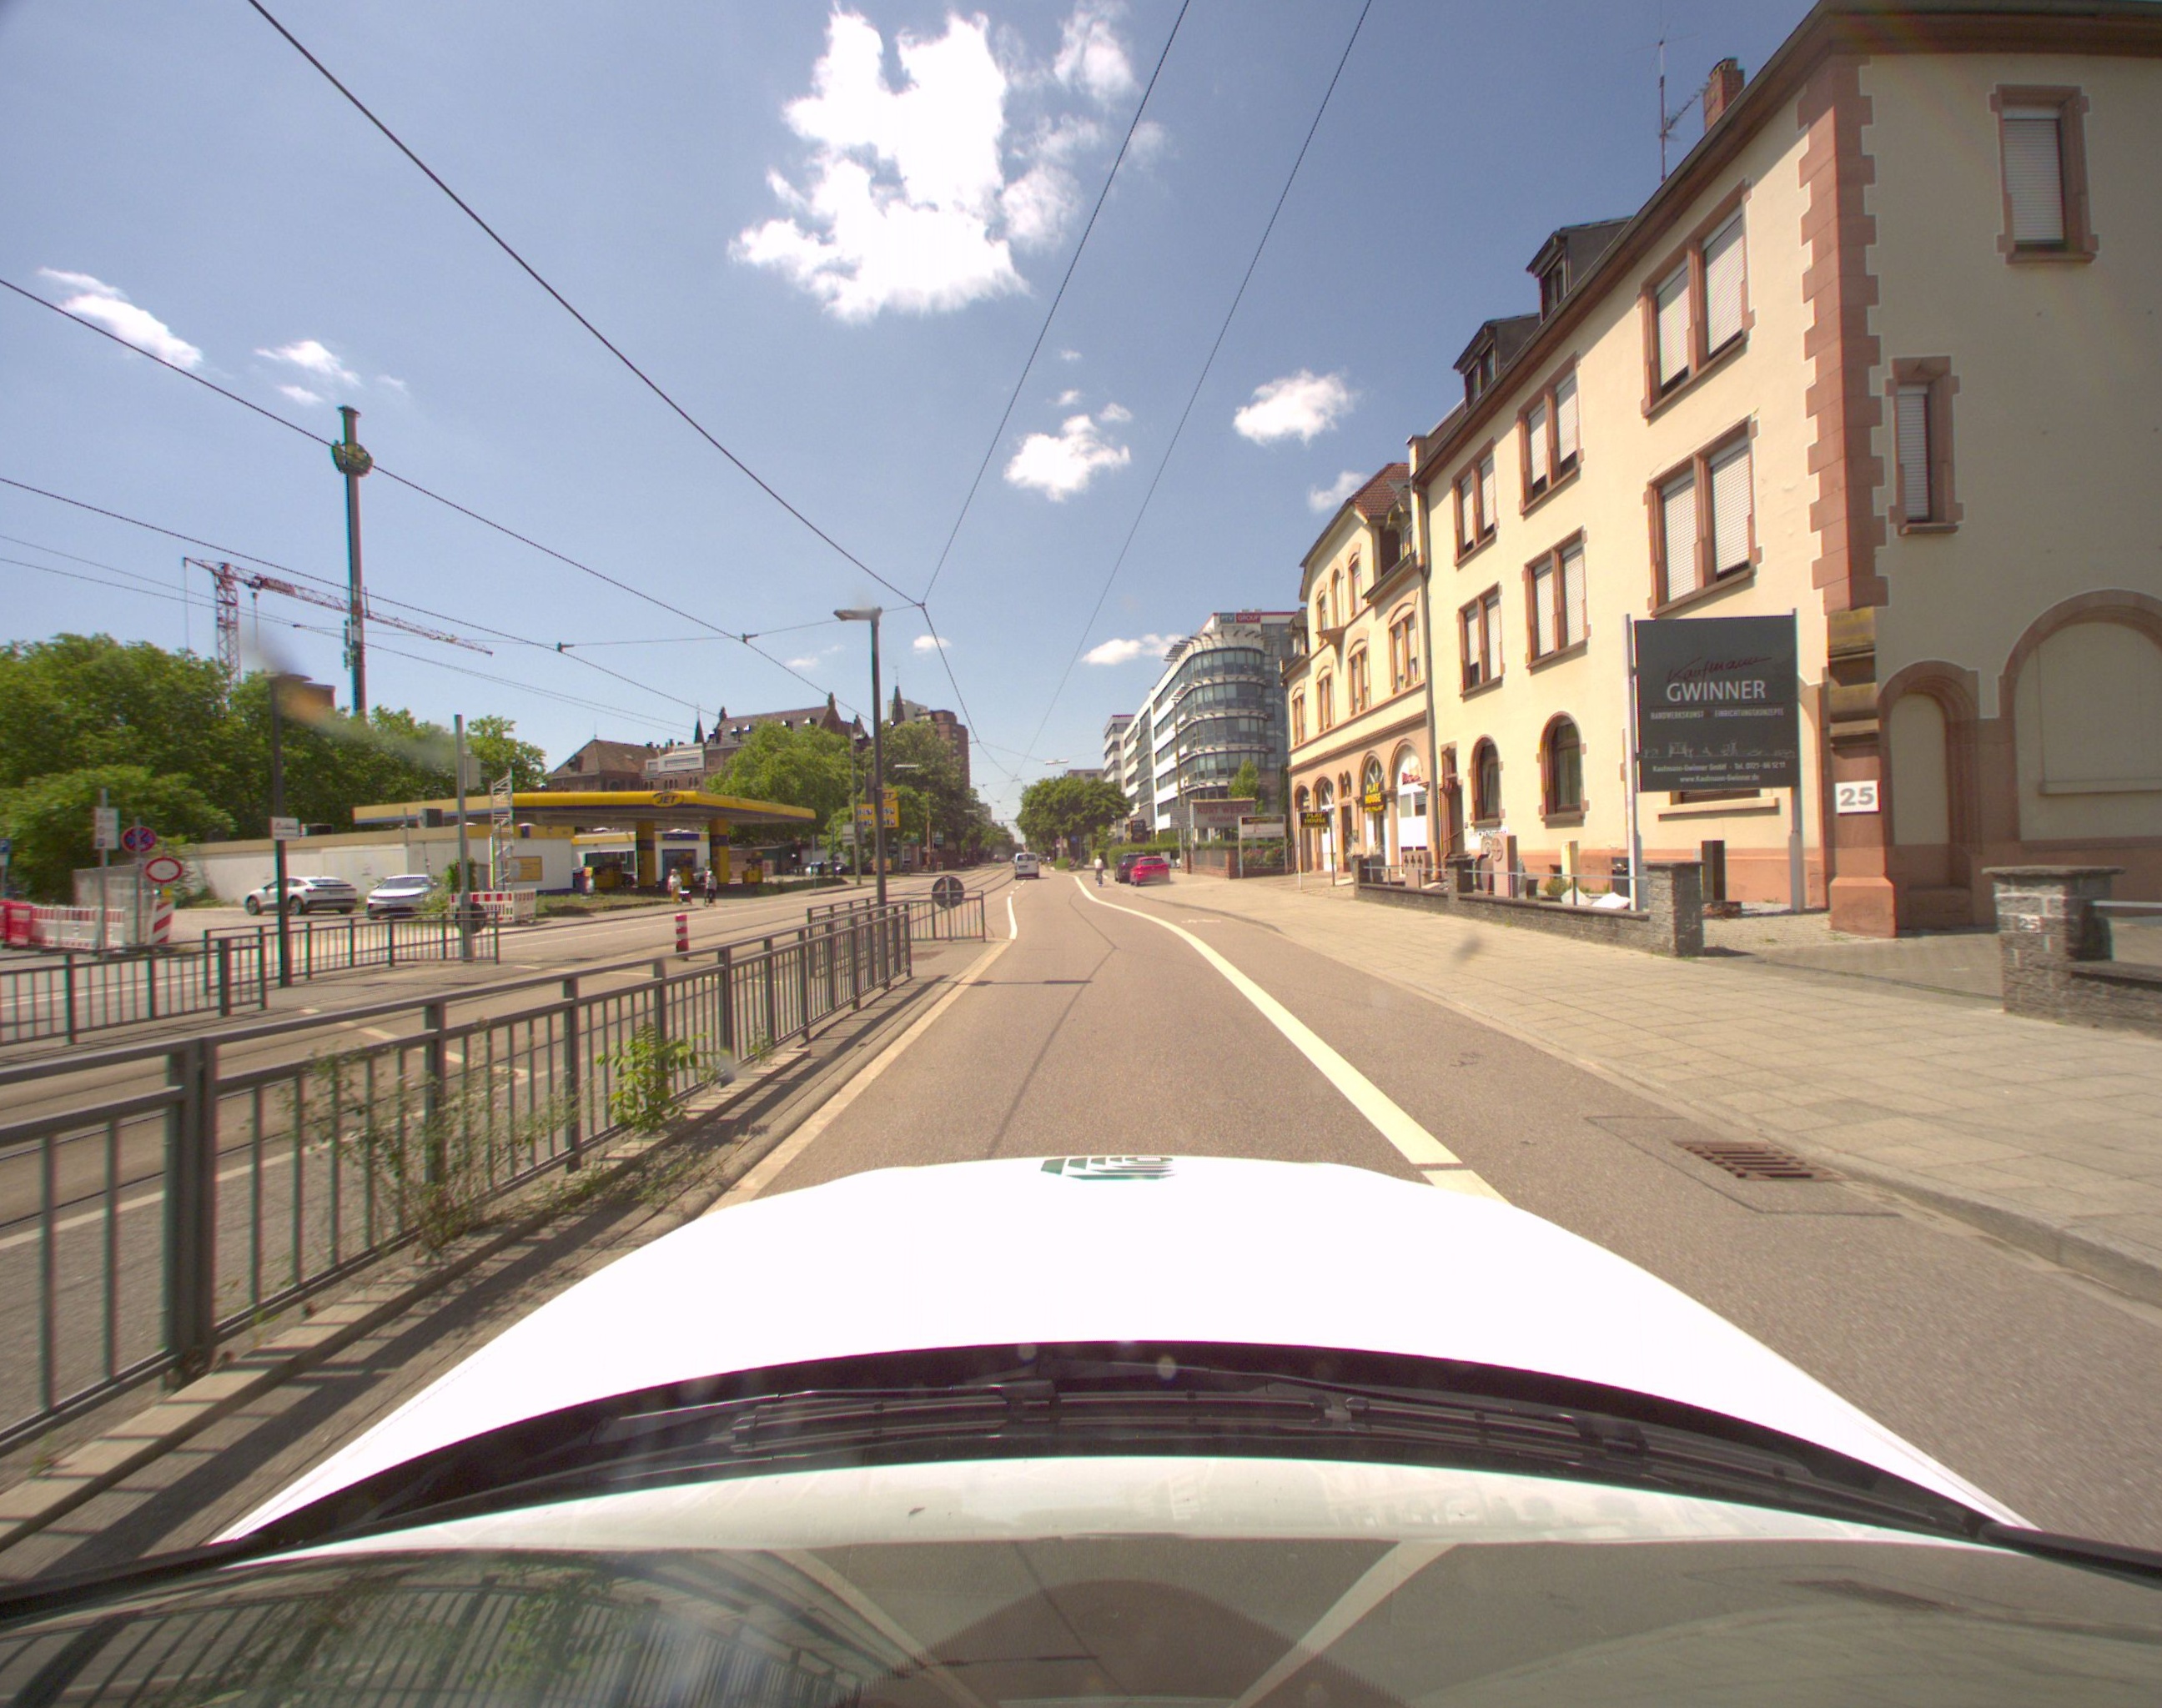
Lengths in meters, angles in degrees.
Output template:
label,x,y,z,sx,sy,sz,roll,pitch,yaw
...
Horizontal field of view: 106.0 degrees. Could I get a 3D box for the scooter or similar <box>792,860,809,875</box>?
label,x,y,z,sx,sy,sz,roll,pitch,yaw
scooter or similar,-28.806,1.416,83.692,1.306,1.466,1.061,-2,0,8

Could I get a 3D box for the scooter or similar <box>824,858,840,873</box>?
label,x,y,z,sx,sy,sz,roll,pitch,yaw
scooter or similar,-25.208,1.205,82.498,1.168,1.466,1.059,-2,-1,2

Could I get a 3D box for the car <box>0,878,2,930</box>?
label,x,y,z,sx,sy,sz,roll,pitch,yaw
car,-42.938,1.977,29.760,1.974,2.013,4.025,-2,0,41

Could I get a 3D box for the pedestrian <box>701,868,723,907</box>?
label,x,y,z,sx,sy,sz,roll,pitch,yaw
pedestrian,-16.429,1.475,36.241,0.577,1.671,0.668,-2,0,5

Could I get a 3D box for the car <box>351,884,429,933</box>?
label,x,y,z,sx,sy,sz,roll,pitch,yaw
car,-25.852,1.991,30.593,2.068,1.567,3.954,-2,0,-38

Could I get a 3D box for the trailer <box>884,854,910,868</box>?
label,x,y,z,sx,sy,sz,roll,pitch,yaw
trailer,-20.966,0.803,92.896,2.721,1.526,1.328,-1,-1,-3

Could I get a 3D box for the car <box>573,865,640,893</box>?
label,x,y,z,sx,sy,sz,roll,pitch,yaw
car,-33.151,1.741,57.036,1.584,1.703,3.790,-4,-1,22

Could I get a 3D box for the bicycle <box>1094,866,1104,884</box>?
label,x,y,z,sx,sy,sz,roll,pitch,yaw
bicycle,0.962,1.099,43.069,0.464,0.887,2.048,-2,0,0

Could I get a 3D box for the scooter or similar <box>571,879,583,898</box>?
label,x,y,z,sx,sy,sz,roll,pitch,yaw
scooter or similar,-25.721,1.745,41.561,0.404,0.930,0.327,-2,0,-1

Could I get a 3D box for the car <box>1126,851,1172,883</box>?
label,x,y,z,sx,sy,sz,roll,pitch,yaw
car,3.428,0.641,41.823,1.708,1.452,4.067,-4,0,-3

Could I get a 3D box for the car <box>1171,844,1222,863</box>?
label,x,y,z,sx,sy,sz,roll,pitch,yaw
car,9.319,-0.065,65.633,3.791,1.275,1.554,-4,0,-3

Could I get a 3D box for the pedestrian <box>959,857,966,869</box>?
label,x,y,z,sx,sy,sz,roll,pitch,yaw
pedestrian,-19.891,1.505,136.605,0.863,2.013,0.645,-4,-1,-6

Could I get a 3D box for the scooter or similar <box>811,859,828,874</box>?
label,x,y,z,sx,sy,sz,roll,pitch,yaw
scooter or similar,-26.665,1.282,83.123,1.306,1.466,1.061,-2,-1,8

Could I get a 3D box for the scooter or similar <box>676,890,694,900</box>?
label,x,y,z,sx,sy,sz,roll,pitch,yaw
scooter or similar,-18.138,1.871,37.329,0.471,0.394,0.673,-2,0,4

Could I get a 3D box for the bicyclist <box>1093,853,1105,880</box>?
label,x,y,z,sx,sy,sz,roll,pitch,yaw
bicyclist,0.956,0.661,43.061,0.589,1.397,0.841,-2,0,-1

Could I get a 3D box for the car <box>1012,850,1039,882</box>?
label,x,y,z,sx,sy,sz,roll,pitch,yaw
car,-3.921,0.825,57.907,1.749,2.013,3.995,-3,1,-4

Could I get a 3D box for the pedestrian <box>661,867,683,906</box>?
label,x,y,z,sx,sy,sz,roll,pitch,yaw
pedestrian,-18.281,1.446,36.412,0.550,1.658,0.673,-2,0,4

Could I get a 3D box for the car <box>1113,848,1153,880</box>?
label,x,y,z,sx,sy,sz,roll,pitch,yaw
car,3.002,0.549,47.819,1.857,1.687,4.998,-3,0,-1

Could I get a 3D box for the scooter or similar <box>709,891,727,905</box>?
label,x,y,z,sx,sy,sz,roll,pitch,yaw
scooter or similar,-16.570,1.993,37.175,0.473,0.581,0.632,-2,0,7

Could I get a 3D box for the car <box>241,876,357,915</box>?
label,x,y,z,sx,sy,sz,roll,pitch,yaw
car,-32.537,1.725,33.904,3.971,1.463,1.768,-2,0,18
